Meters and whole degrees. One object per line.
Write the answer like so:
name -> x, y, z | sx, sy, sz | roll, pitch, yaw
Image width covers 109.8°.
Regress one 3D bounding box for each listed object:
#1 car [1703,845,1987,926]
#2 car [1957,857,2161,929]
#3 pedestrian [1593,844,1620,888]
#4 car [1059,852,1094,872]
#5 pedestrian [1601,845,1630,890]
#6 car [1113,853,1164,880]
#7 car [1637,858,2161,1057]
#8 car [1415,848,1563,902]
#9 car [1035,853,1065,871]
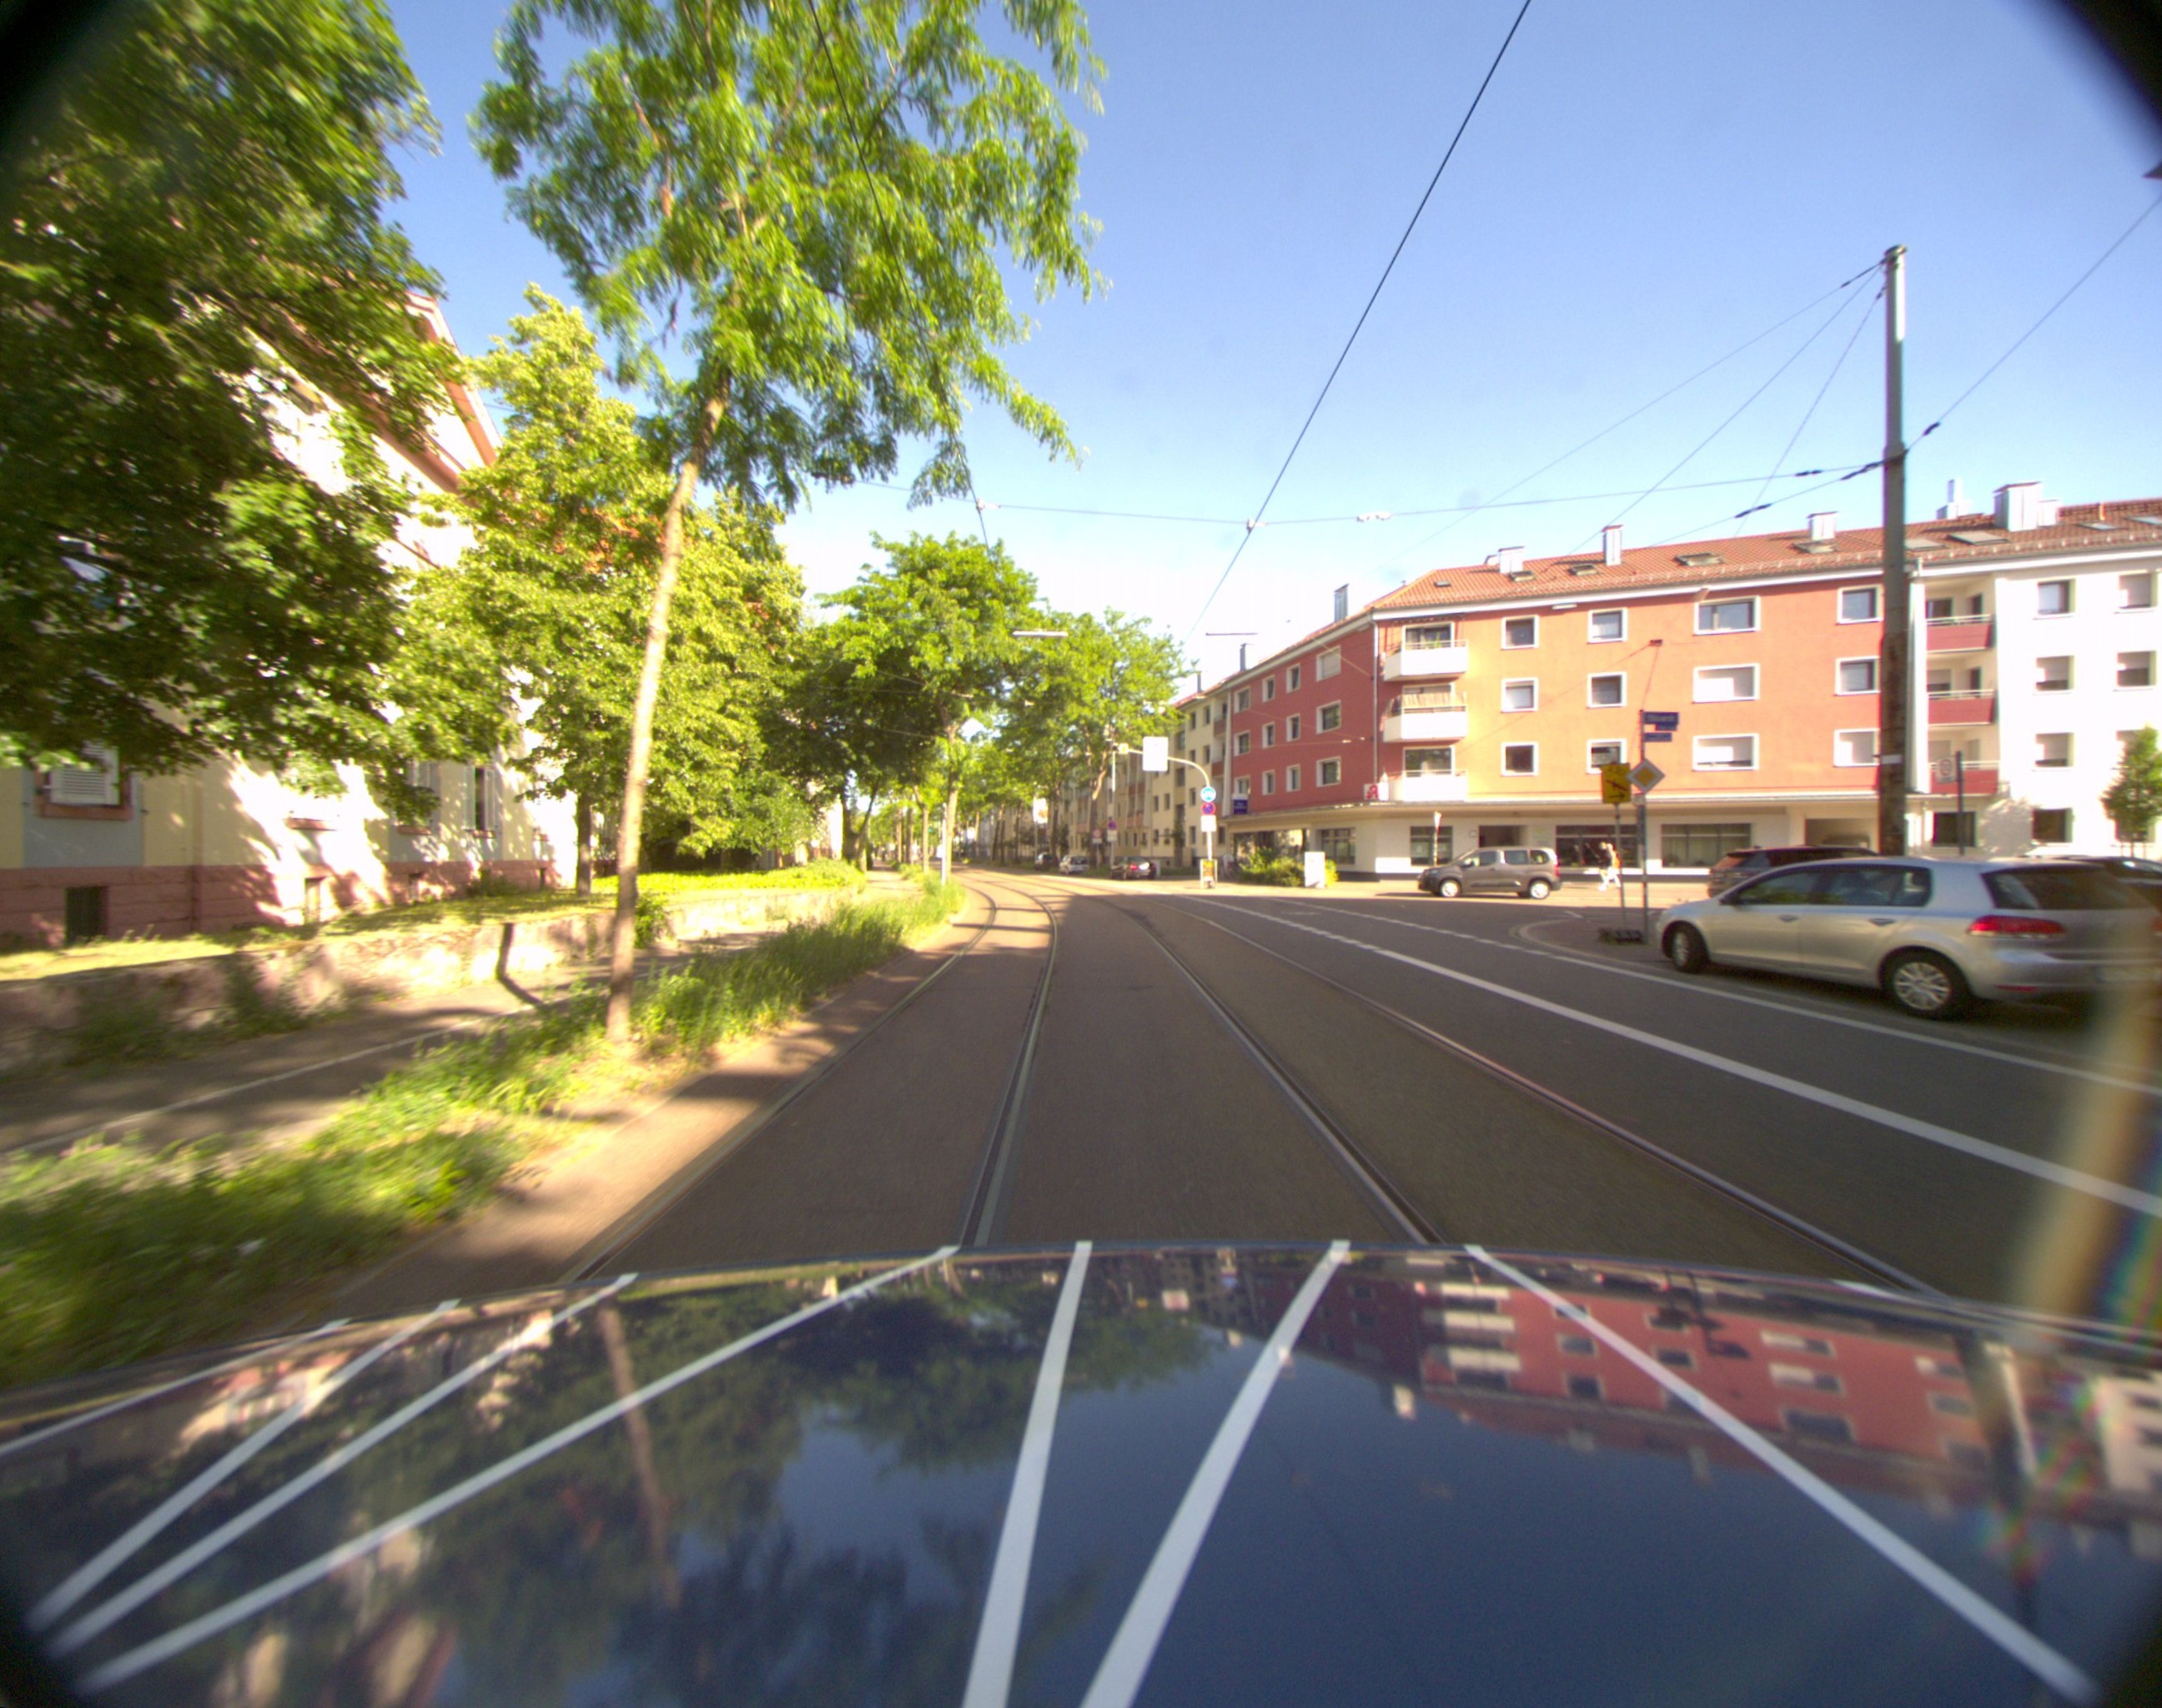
car -> 18.173, 0.684, 18.382 | 4.481, 1.769, 1.791 | 1, 1, 20
car -> 23.200, 0.855, 17.249 | 4.001, 1.498, 1.688 | 1, 1, 19
pedestrian -> 21.456, 0.483, 31.029 | 0.803, 1.755, 0.509 | 1, 1, 20
car -> -0.408, 0.588, 57.107 | 1.880, 1.390, 3.996 | -3, 1, -11
pedestrian -> 21.128, 0.509, 30.065 | 0.803, 1.755, 0.509 | 1, 1, 20
car -> 3.266, 0.698, 44.057 | 1.880, 1.390, 3.996 | -3, 1, -11
car -> 8.255, 0.833, 8.086 | 1.577, 1.497, 4.095 | -1, 1, -2
car -> 14.194, 0.692, 26.716 | 4.280, 1.769, 1.791 | 1, 1, 16
car -> -2.630, 0.668, 64.179 | 1.880, 1.390, 3.996 | -3, 1, -11
